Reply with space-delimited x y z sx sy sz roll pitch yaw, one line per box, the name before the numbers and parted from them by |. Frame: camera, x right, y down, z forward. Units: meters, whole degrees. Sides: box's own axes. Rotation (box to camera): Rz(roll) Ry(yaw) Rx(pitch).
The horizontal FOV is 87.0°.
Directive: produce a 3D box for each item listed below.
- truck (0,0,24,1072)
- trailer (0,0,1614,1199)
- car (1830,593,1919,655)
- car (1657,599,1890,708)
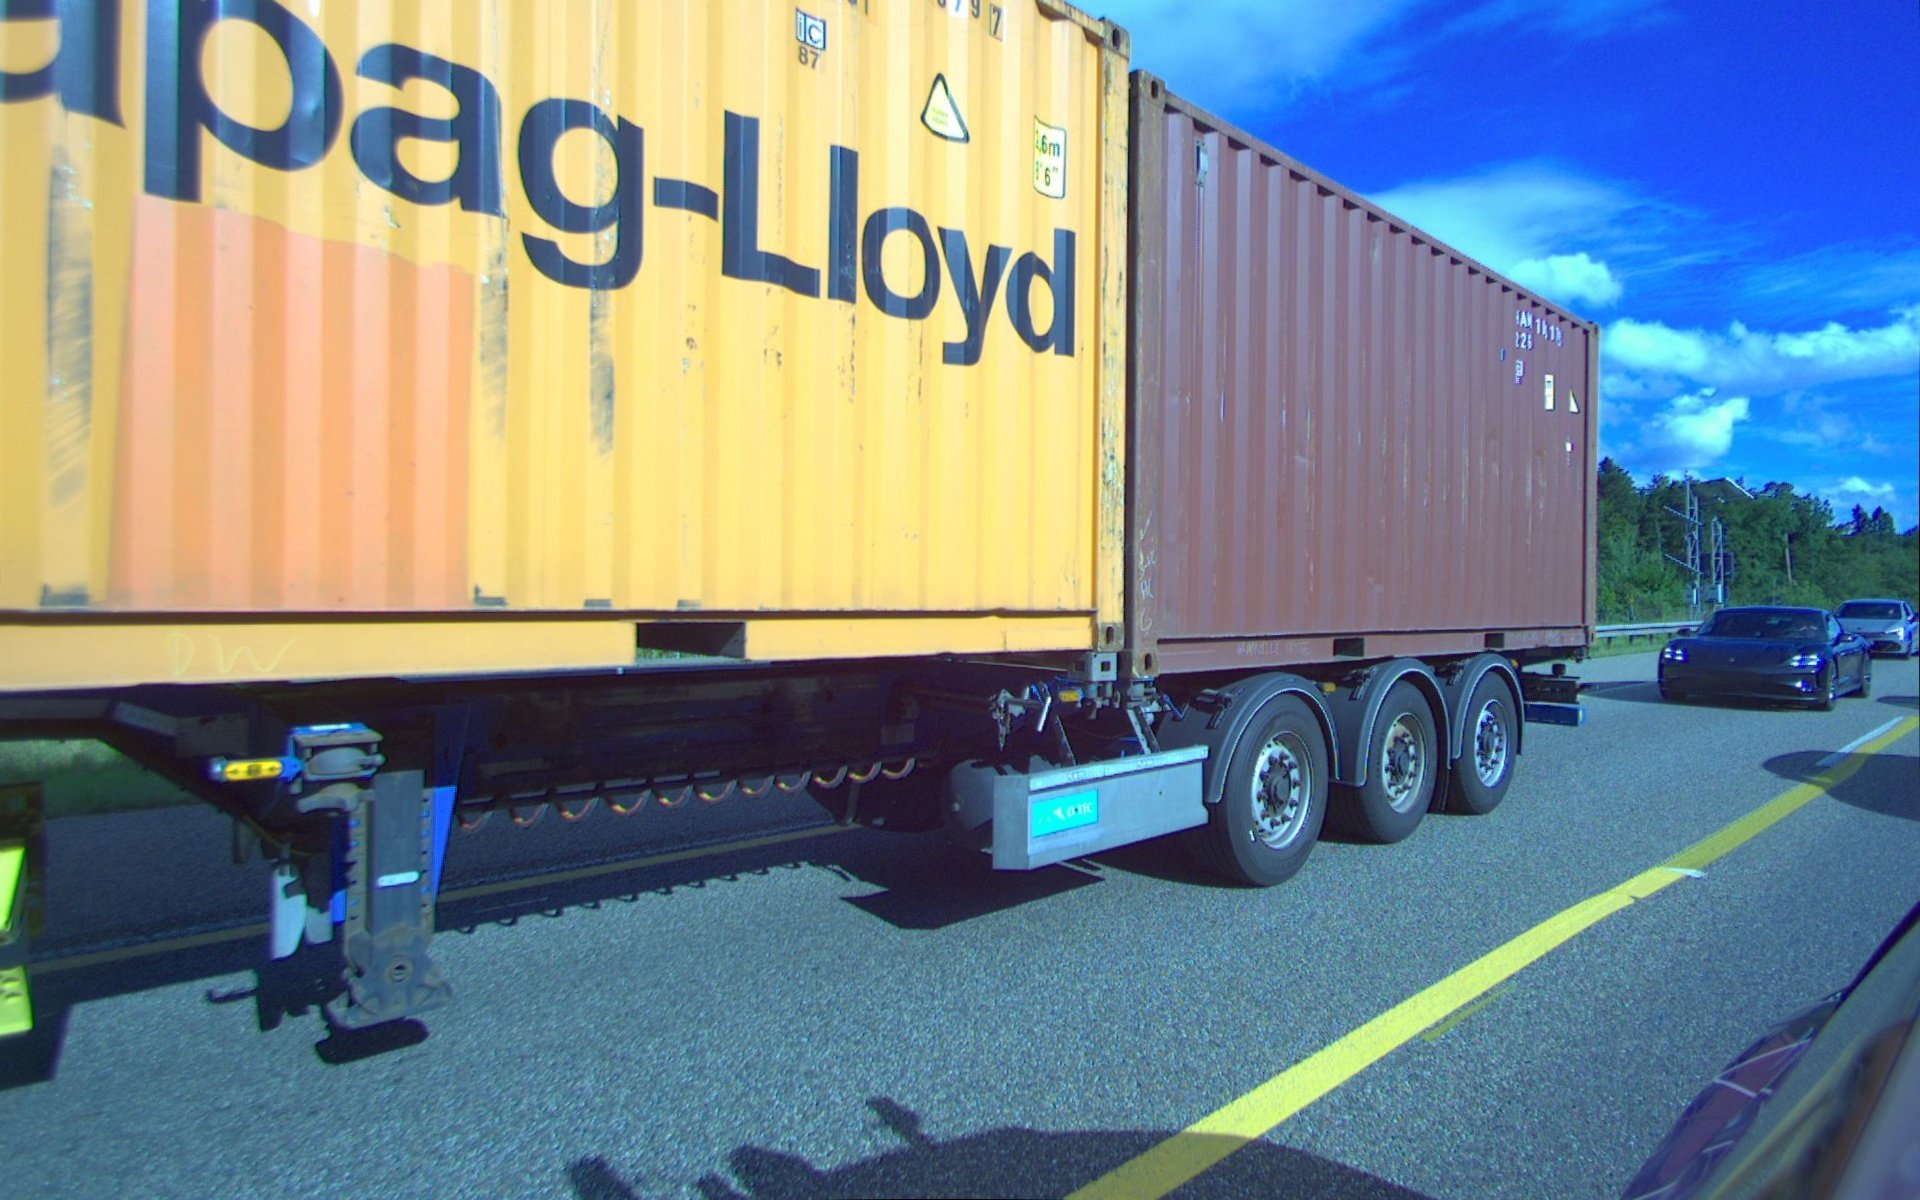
truck | -4.815 -0.524 0.932 5.689 3.828 2.499 0 0 -41
trailer | -0.040 -0.577 5.132 11.924 3.822 2.475 0 0 -41
car | 24.582 0.576 26.813 3.898 1.498 1.761 -1 1 -41
car | 12.158 0.674 15.028 4.399 1.367 1.932 0 0 -41
